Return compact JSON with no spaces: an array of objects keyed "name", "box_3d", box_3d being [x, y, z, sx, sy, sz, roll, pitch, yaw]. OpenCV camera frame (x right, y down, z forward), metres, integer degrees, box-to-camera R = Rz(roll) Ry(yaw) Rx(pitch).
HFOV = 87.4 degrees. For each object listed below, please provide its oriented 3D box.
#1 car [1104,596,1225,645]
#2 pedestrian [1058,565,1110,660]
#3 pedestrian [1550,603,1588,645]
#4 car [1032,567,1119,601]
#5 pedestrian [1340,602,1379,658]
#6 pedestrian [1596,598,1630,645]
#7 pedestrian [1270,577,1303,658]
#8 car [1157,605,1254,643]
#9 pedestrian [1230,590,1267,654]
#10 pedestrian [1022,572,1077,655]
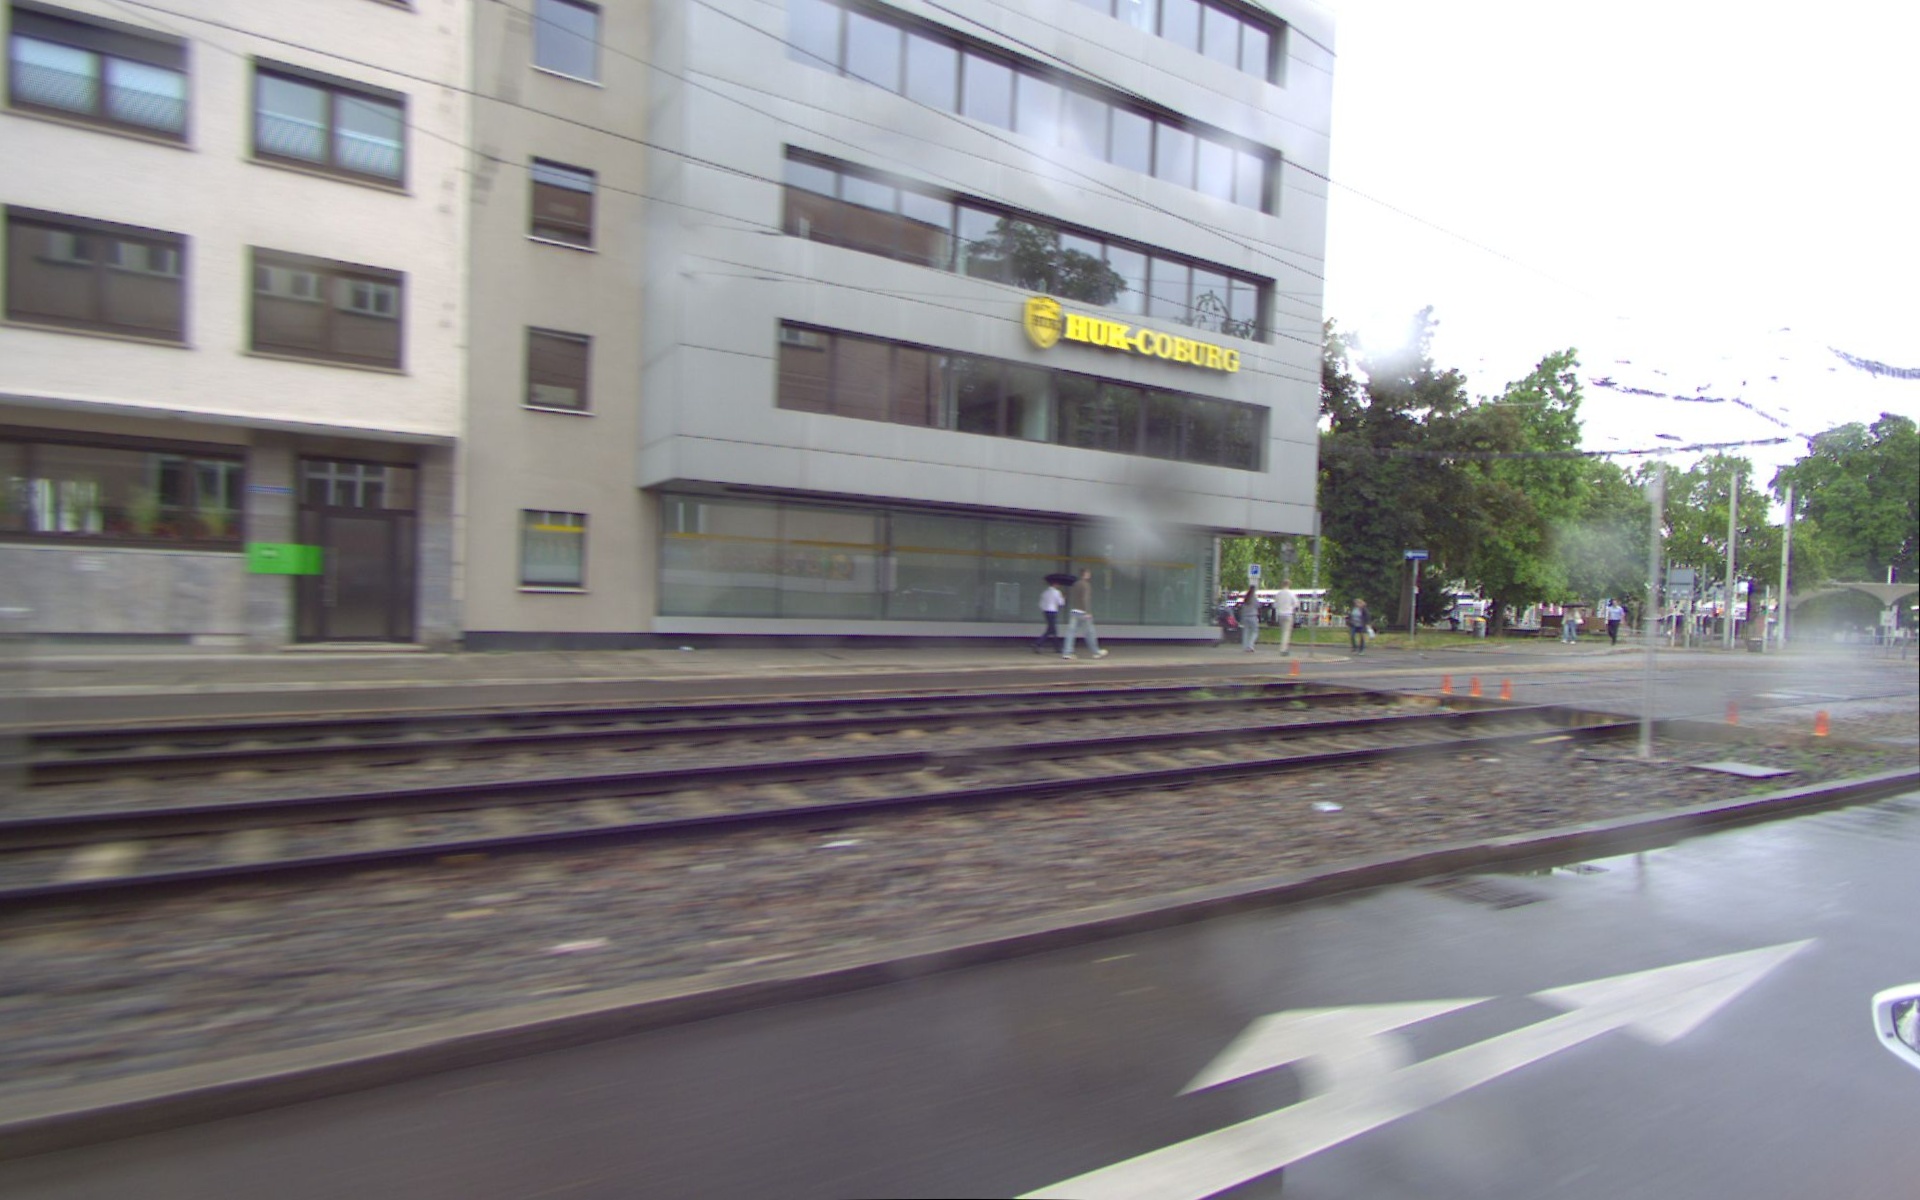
[{"name":"car","box_3d":[6.946,0.677,34.243,3.679,1.571,1.697,1,-1,35]},{"name":"pedestrian","box_3d":[2.726,0.272,22.070,0.801,2.041,0.657,2,3,-30]},{"name":"pedestrian","box_3d":[24.713,0.971,40.779,0.895,1.615,1.004,3,2,9]},{"name":"car","box_3d":[5.185,-0.718,45.232,3.480,1.467,1.698,1,-1,34]},{"name":"pedestrian","box_3d":[12.089,0.893,30.404,0.947,1.615,0.589,4,2,17]},{"name":"pedestrian","box_3d":[27.385,0.873,42.134,0.895,1.888,1.003,4,2,20]},{"name":"pedestrian","box_3d":[8.401,0.437,25.865,0.650,2.041,0.616,4,2,22]},{"name":"car","box_3d":[10.047,0.962,41.185,3.484,1.467,1.696,1,-1,38]},{"name":"pedestrian","box_3d":[7.581,0.564,26.411,0.625,1.615,0.587,2,2,-13]},{"name":"pedestrian","box_3d":[2.037,0.302,22.924,0.962,1.840,0.657,2,3,-30]}]
